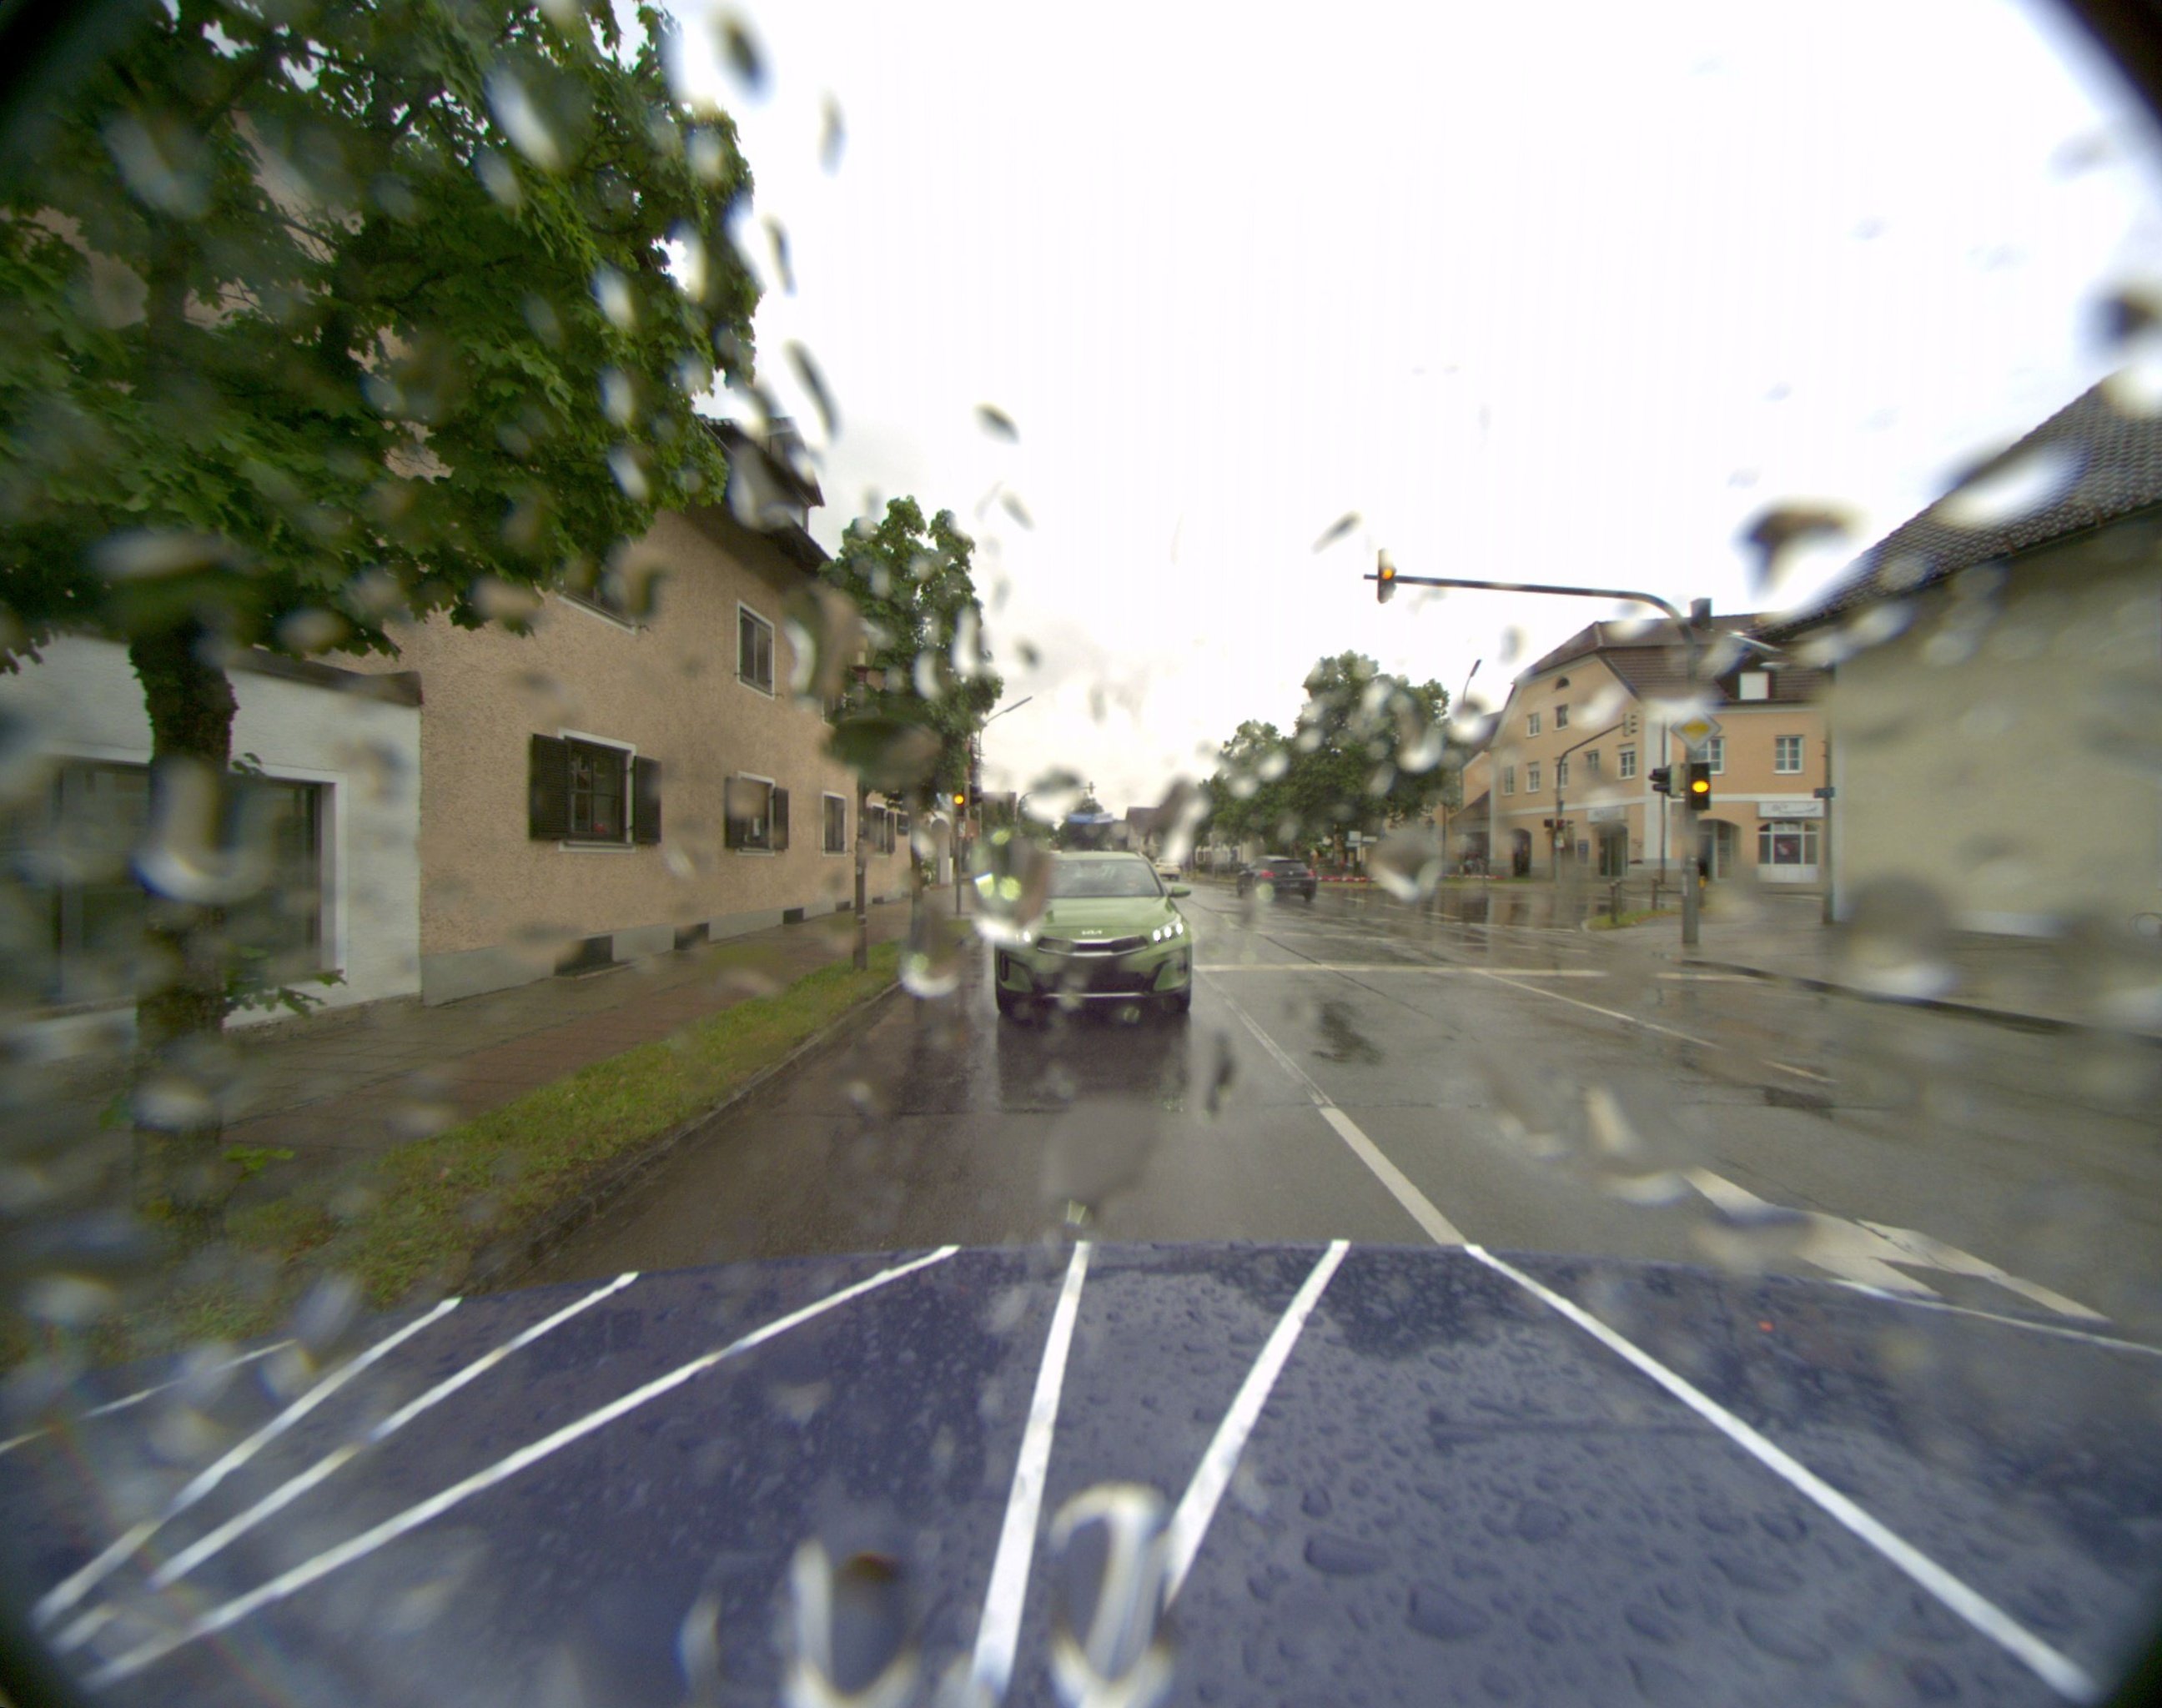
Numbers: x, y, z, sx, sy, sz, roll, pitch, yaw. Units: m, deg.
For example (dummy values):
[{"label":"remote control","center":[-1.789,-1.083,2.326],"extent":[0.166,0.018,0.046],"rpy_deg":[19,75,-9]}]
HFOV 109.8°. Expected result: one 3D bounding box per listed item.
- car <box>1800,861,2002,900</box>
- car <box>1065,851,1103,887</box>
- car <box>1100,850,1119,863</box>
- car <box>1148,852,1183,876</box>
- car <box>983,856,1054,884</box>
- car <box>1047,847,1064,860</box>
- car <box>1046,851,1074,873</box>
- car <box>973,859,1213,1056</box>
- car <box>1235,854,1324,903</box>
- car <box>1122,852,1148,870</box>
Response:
[{"label":"car","center":[27.289,0.847,25.458],"extent":[4.352,1.178,1.691],"rpy_deg":[0,1,15]},{"label":"car","center":[0.169,0.654,35.124],"extent":[1.637,1.509,4.000],"rpy_deg":[1,0,1]},{"label":"car","center":[3.455,0.321,93.029],"extent":[1.972,1.554,4.150],"rpy_deg":[1,1,-2]},{"label":"car","center":[5.631,0.642,51.150],"extent":[1.757,1.502,4.229],"rpy_deg":[1,0,-1]},{"label":"car","center":[-3.850,0.972,46.947],"extent":[4.044,1.656,1.852],"rpy_deg":[0,1,-42]},{"label":"car","center":[-3.832,-0.107,113.960],"extent":[2.218,1.977,4.952],"rpy_deg":[1,0,-5]},{"label":"car","center":[-1.559,0.572,57.738],"extent":[1.839,1.509,4.669],"rpy_deg":[1,0,1]},{"label":"car","center":[0.139,0.838,8.075],"extent":[1.872,1.504,4.105],"rpy_deg":[-1,0,1]},{"label":"car","center":[6.338,0.731,24.735],"extent":[2.001,1.399,3.884],"rpy_deg":[1,1,2]},{"label":"car","center":[4.807,0.625,67.877],"extent":[1.931,1.557,4.125],"rpy_deg":[0,0,-1]}]
